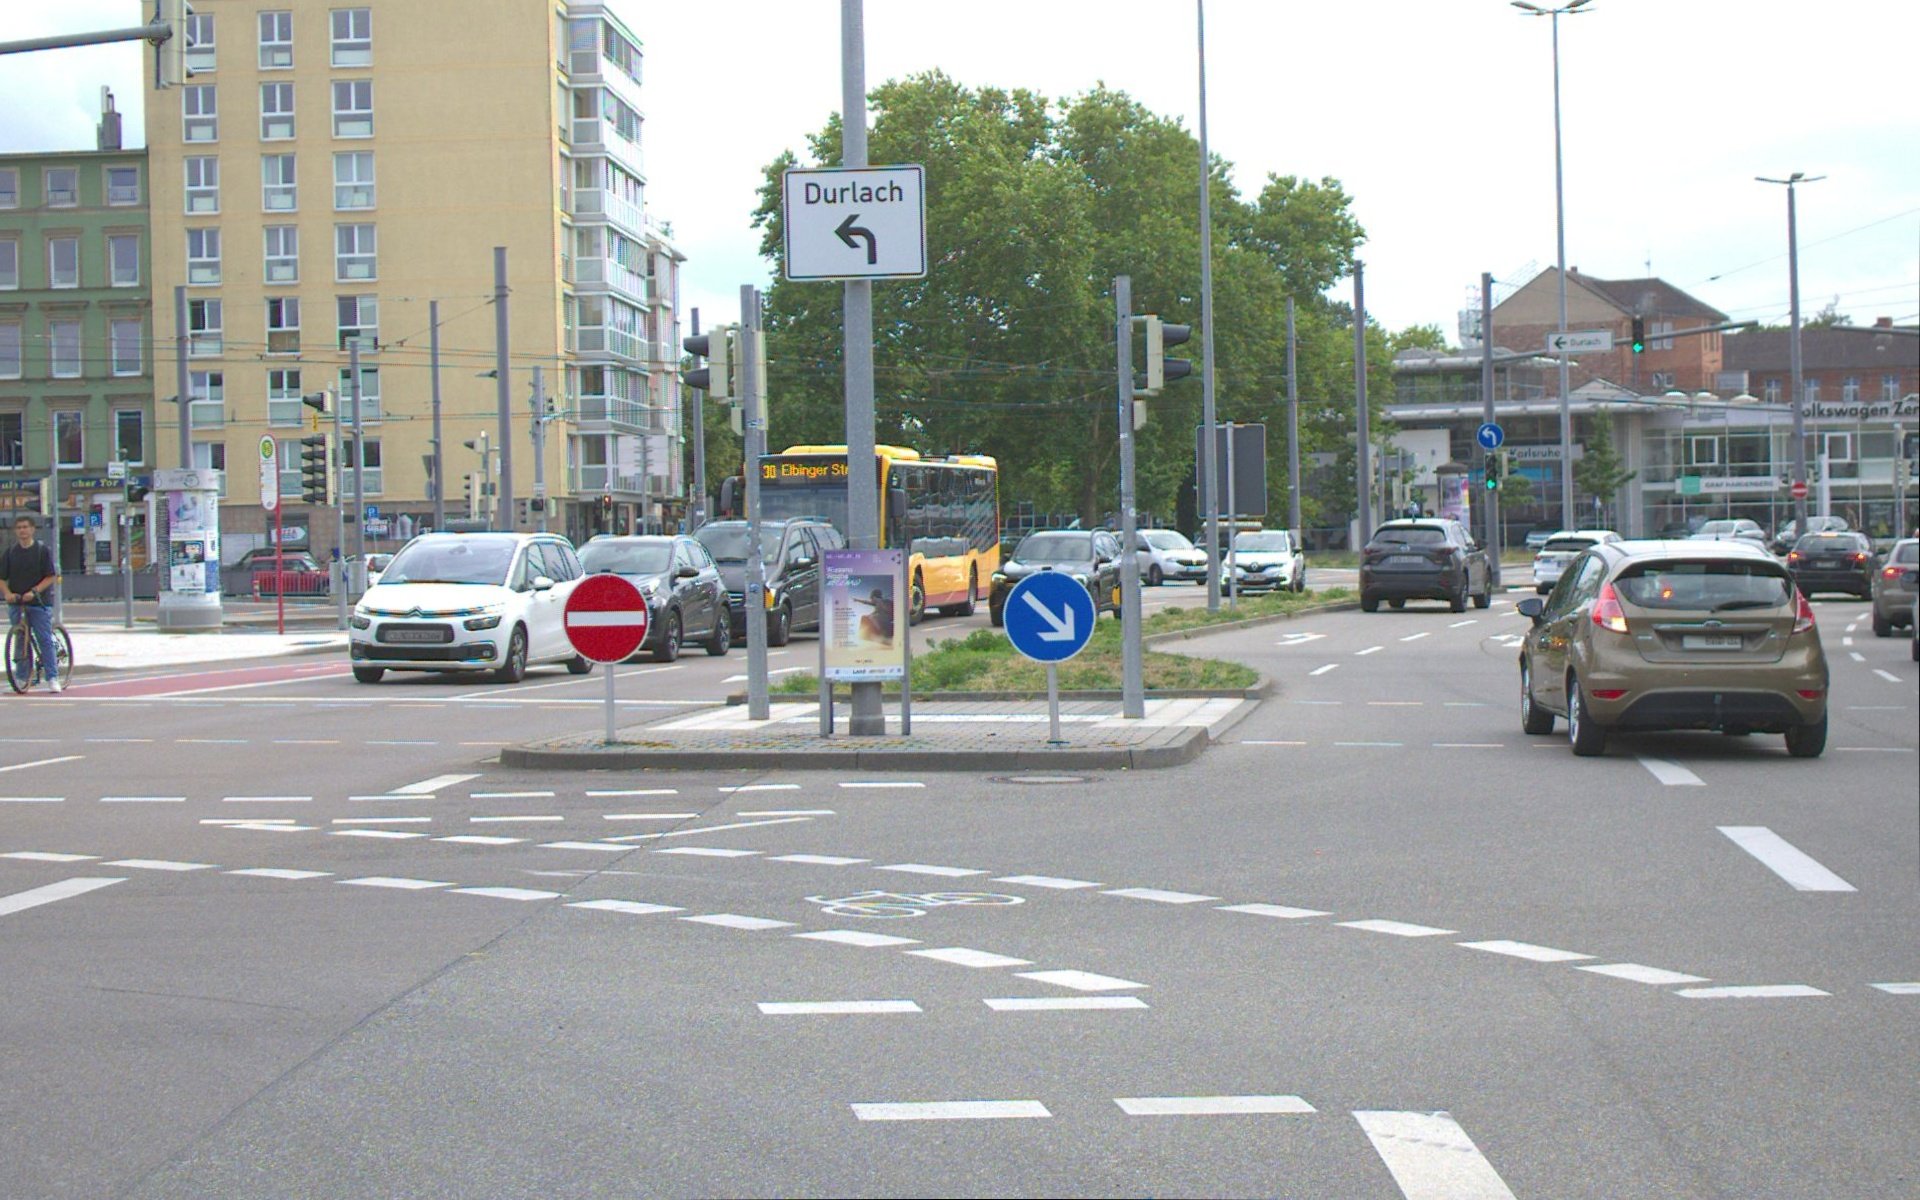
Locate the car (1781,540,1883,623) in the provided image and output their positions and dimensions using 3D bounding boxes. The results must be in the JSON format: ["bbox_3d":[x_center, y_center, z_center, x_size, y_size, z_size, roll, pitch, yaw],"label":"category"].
[{"bbox_3d":[15.674,-0.339,61.776,1.712,1.415,3.997,1,1,14],"label":"car"}]

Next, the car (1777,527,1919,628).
[{"bbox_3d":[13.235,-0.336,50.901,2.134,1.415,3.698,1,1,14],"label":"car"}]

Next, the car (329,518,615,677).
[{"bbox_3d":[-5.363,-0.050,38.347,1.994,1.645,4.289,1,1,9],"label":"car"}]

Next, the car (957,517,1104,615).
[{"bbox_3d":[1.283,-0.606,60.628,1.994,1.645,4.511,1,1,9],"label":"car"}]

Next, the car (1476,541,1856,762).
[{"bbox_3d":[4.823,0.307,23.980,1.695,1.400,3.700,1,1,-3],"label":"car"}]

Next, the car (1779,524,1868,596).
[{"bbox_3d":[17.838,-0.828,71.006,1.712,1.415,3.997,1,1,14],"label":"car"}]

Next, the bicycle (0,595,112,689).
[{"bbox_3d":[-9.316,0.403,34.447,0.862,0.873,2.519,1,1,4],"label":"bicycle"}]

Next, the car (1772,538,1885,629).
[{"bbox_3d":[14.206,-0.283,56.223,1.712,1.415,3.997,1,1,14],"label":"car"}]

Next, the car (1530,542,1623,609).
[{"bbox_3d":[13.703,-0.556,76.300,1.712,1.415,3.997,1,1,14],"label":"car"}]

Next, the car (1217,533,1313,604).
[{"bbox_3d":[7.377,-0.764,82.849,1.994,1.645,4.511,1,1,9],"label":"car"}]

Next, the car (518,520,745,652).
[{"bbox_3d":[-4.298,-0.202,45.684,1.994,1.645,4.289,1,1,9],"label":"car"}]

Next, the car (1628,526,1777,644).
[{"bbox_3d":[9.506,-0.203,43.820,1.712,1.415,3.997,1,1,14],"label":"car"}]

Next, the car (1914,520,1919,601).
[{"bbox_3d":[18.055,-0.704,61.723,1.705,1.415,3.698,1,1,14],"label":"car"}]

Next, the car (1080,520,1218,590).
[{"bbox_3d":[5.502,-1.328,100.455,1.994,2.007,4.000,0,1,-34],"label":"car"}]

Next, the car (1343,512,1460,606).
[{"bbox_3d":[7.958,-0.739,61.785,1.835,1.609,3.544,1,1,11],"label":"car"}]

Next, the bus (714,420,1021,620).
[{"bbox_3d":[-1.423,-1.380,62.465,3.149,3.244,12.408,1,1,10],"label":"bus"}]

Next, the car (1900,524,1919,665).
[{"bbox_3d":[11.734,-0.064,39.160,1.859,1.527,4.000,1,1,14],"label":"car"}]

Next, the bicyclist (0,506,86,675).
[{"bbox_3d":[-9.312,-0.101,34.364,0.867,1.663,0.881,1,1,4],"label":"bicyclist"}]

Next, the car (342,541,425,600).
[{"bbox_3d":[-20.295,-1.048,121.115,1.994,2.007,4.000,1,1,4],"label":"car"}]

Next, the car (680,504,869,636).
[{"bbox_3d":[-2.753,-0.458,52.038,1.994,1.892,4.289,1,1,9],"label":"car"}]
